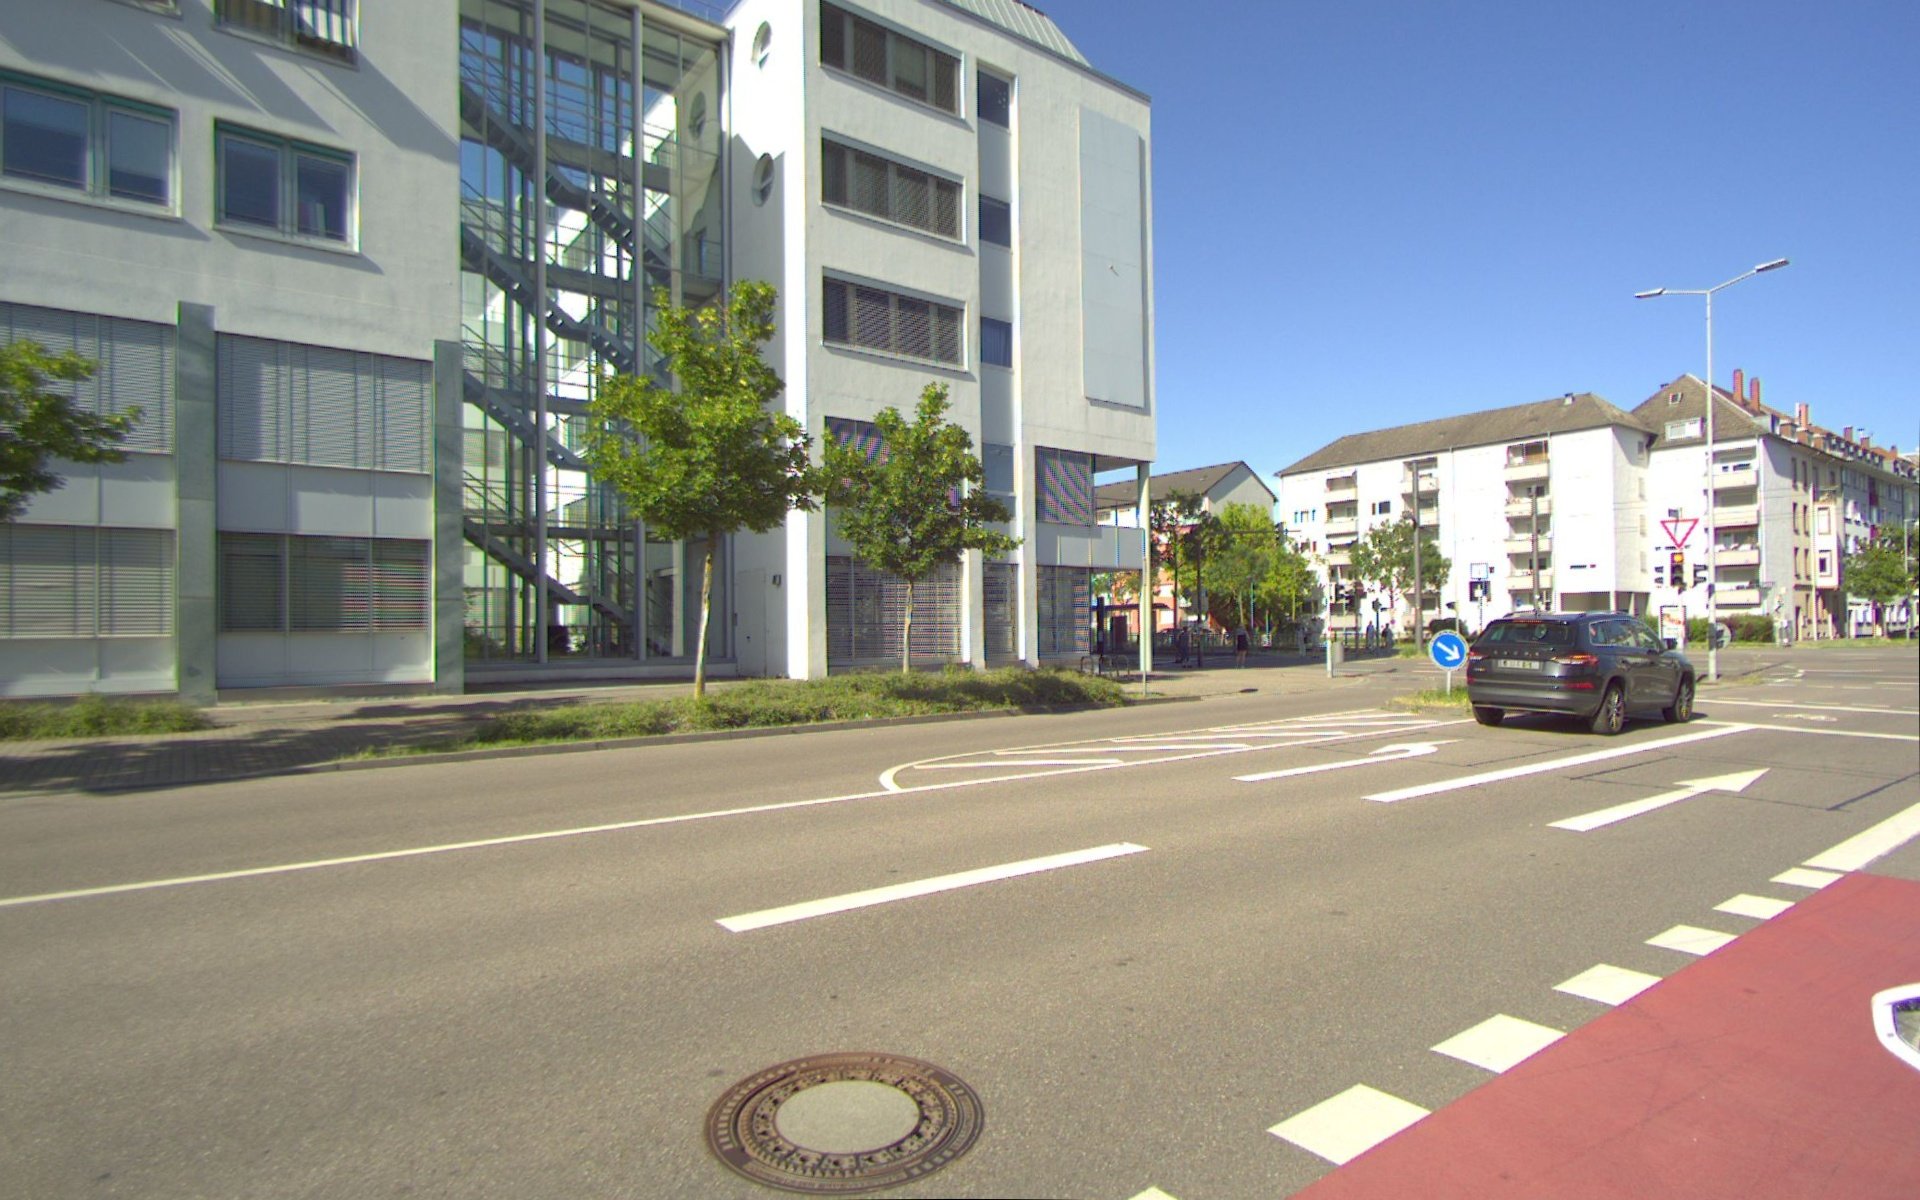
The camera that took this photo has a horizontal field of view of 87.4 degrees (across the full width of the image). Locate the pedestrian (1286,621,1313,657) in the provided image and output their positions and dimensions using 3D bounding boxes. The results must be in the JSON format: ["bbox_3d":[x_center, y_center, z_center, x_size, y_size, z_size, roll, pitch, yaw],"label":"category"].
[{"bbox_3d":[16.803,1.924,49.678,1.146,1.749,0.803,1,-2,-42],"label":"pedestrian"}]

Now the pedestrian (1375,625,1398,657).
[{"bbox_3d":[23.993,2.317,56.501,0.797,1.749,1.155,-1,-2,4],"label":"pedestrian"}]

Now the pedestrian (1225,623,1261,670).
[{"bbox_3d":[10.699,1.752,37.926,1.146,1.749,0.803,1,-2,-42],"label":"pedestrian"}]

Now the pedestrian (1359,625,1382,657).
[{"bbox_3d":[23.133,2.317,56.617,0.797,1.749,1.155,-1,-2,4],"label":"pedestrian"}]

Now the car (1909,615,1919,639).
[{"bbox_3d":[59.987,1.696,61.662,4.356,1.451,1.677,1,0,-35],"label":"car"}]

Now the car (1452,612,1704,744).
[{"bbox_3d":[9.257,1.038,14.906,4.438,1.650,1.740,1,0,-38],"label":"car"}]

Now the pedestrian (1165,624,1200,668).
[{"bbox_3d":[8.828,1.818,39.891,1.146,1.749,0.803,1,-2,-42],"label":"pedestrian"}]

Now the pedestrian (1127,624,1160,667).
[{"bbox_3d":[7.688,1.902,42.043,1.146,1.749,0.803,1,-2,-42],"label":"pedestrian"}]

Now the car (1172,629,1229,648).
[{"bbox_3d":[19.786,3.159,82.847,4.312,1.451,1.694,1,0,1],"label":"car"}]

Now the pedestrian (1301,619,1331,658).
[{"bbox_3d":[17.039,1.839,48.052,1.146,1.794,0.912,1,-2,-42],"label":"pedestrian"}]
